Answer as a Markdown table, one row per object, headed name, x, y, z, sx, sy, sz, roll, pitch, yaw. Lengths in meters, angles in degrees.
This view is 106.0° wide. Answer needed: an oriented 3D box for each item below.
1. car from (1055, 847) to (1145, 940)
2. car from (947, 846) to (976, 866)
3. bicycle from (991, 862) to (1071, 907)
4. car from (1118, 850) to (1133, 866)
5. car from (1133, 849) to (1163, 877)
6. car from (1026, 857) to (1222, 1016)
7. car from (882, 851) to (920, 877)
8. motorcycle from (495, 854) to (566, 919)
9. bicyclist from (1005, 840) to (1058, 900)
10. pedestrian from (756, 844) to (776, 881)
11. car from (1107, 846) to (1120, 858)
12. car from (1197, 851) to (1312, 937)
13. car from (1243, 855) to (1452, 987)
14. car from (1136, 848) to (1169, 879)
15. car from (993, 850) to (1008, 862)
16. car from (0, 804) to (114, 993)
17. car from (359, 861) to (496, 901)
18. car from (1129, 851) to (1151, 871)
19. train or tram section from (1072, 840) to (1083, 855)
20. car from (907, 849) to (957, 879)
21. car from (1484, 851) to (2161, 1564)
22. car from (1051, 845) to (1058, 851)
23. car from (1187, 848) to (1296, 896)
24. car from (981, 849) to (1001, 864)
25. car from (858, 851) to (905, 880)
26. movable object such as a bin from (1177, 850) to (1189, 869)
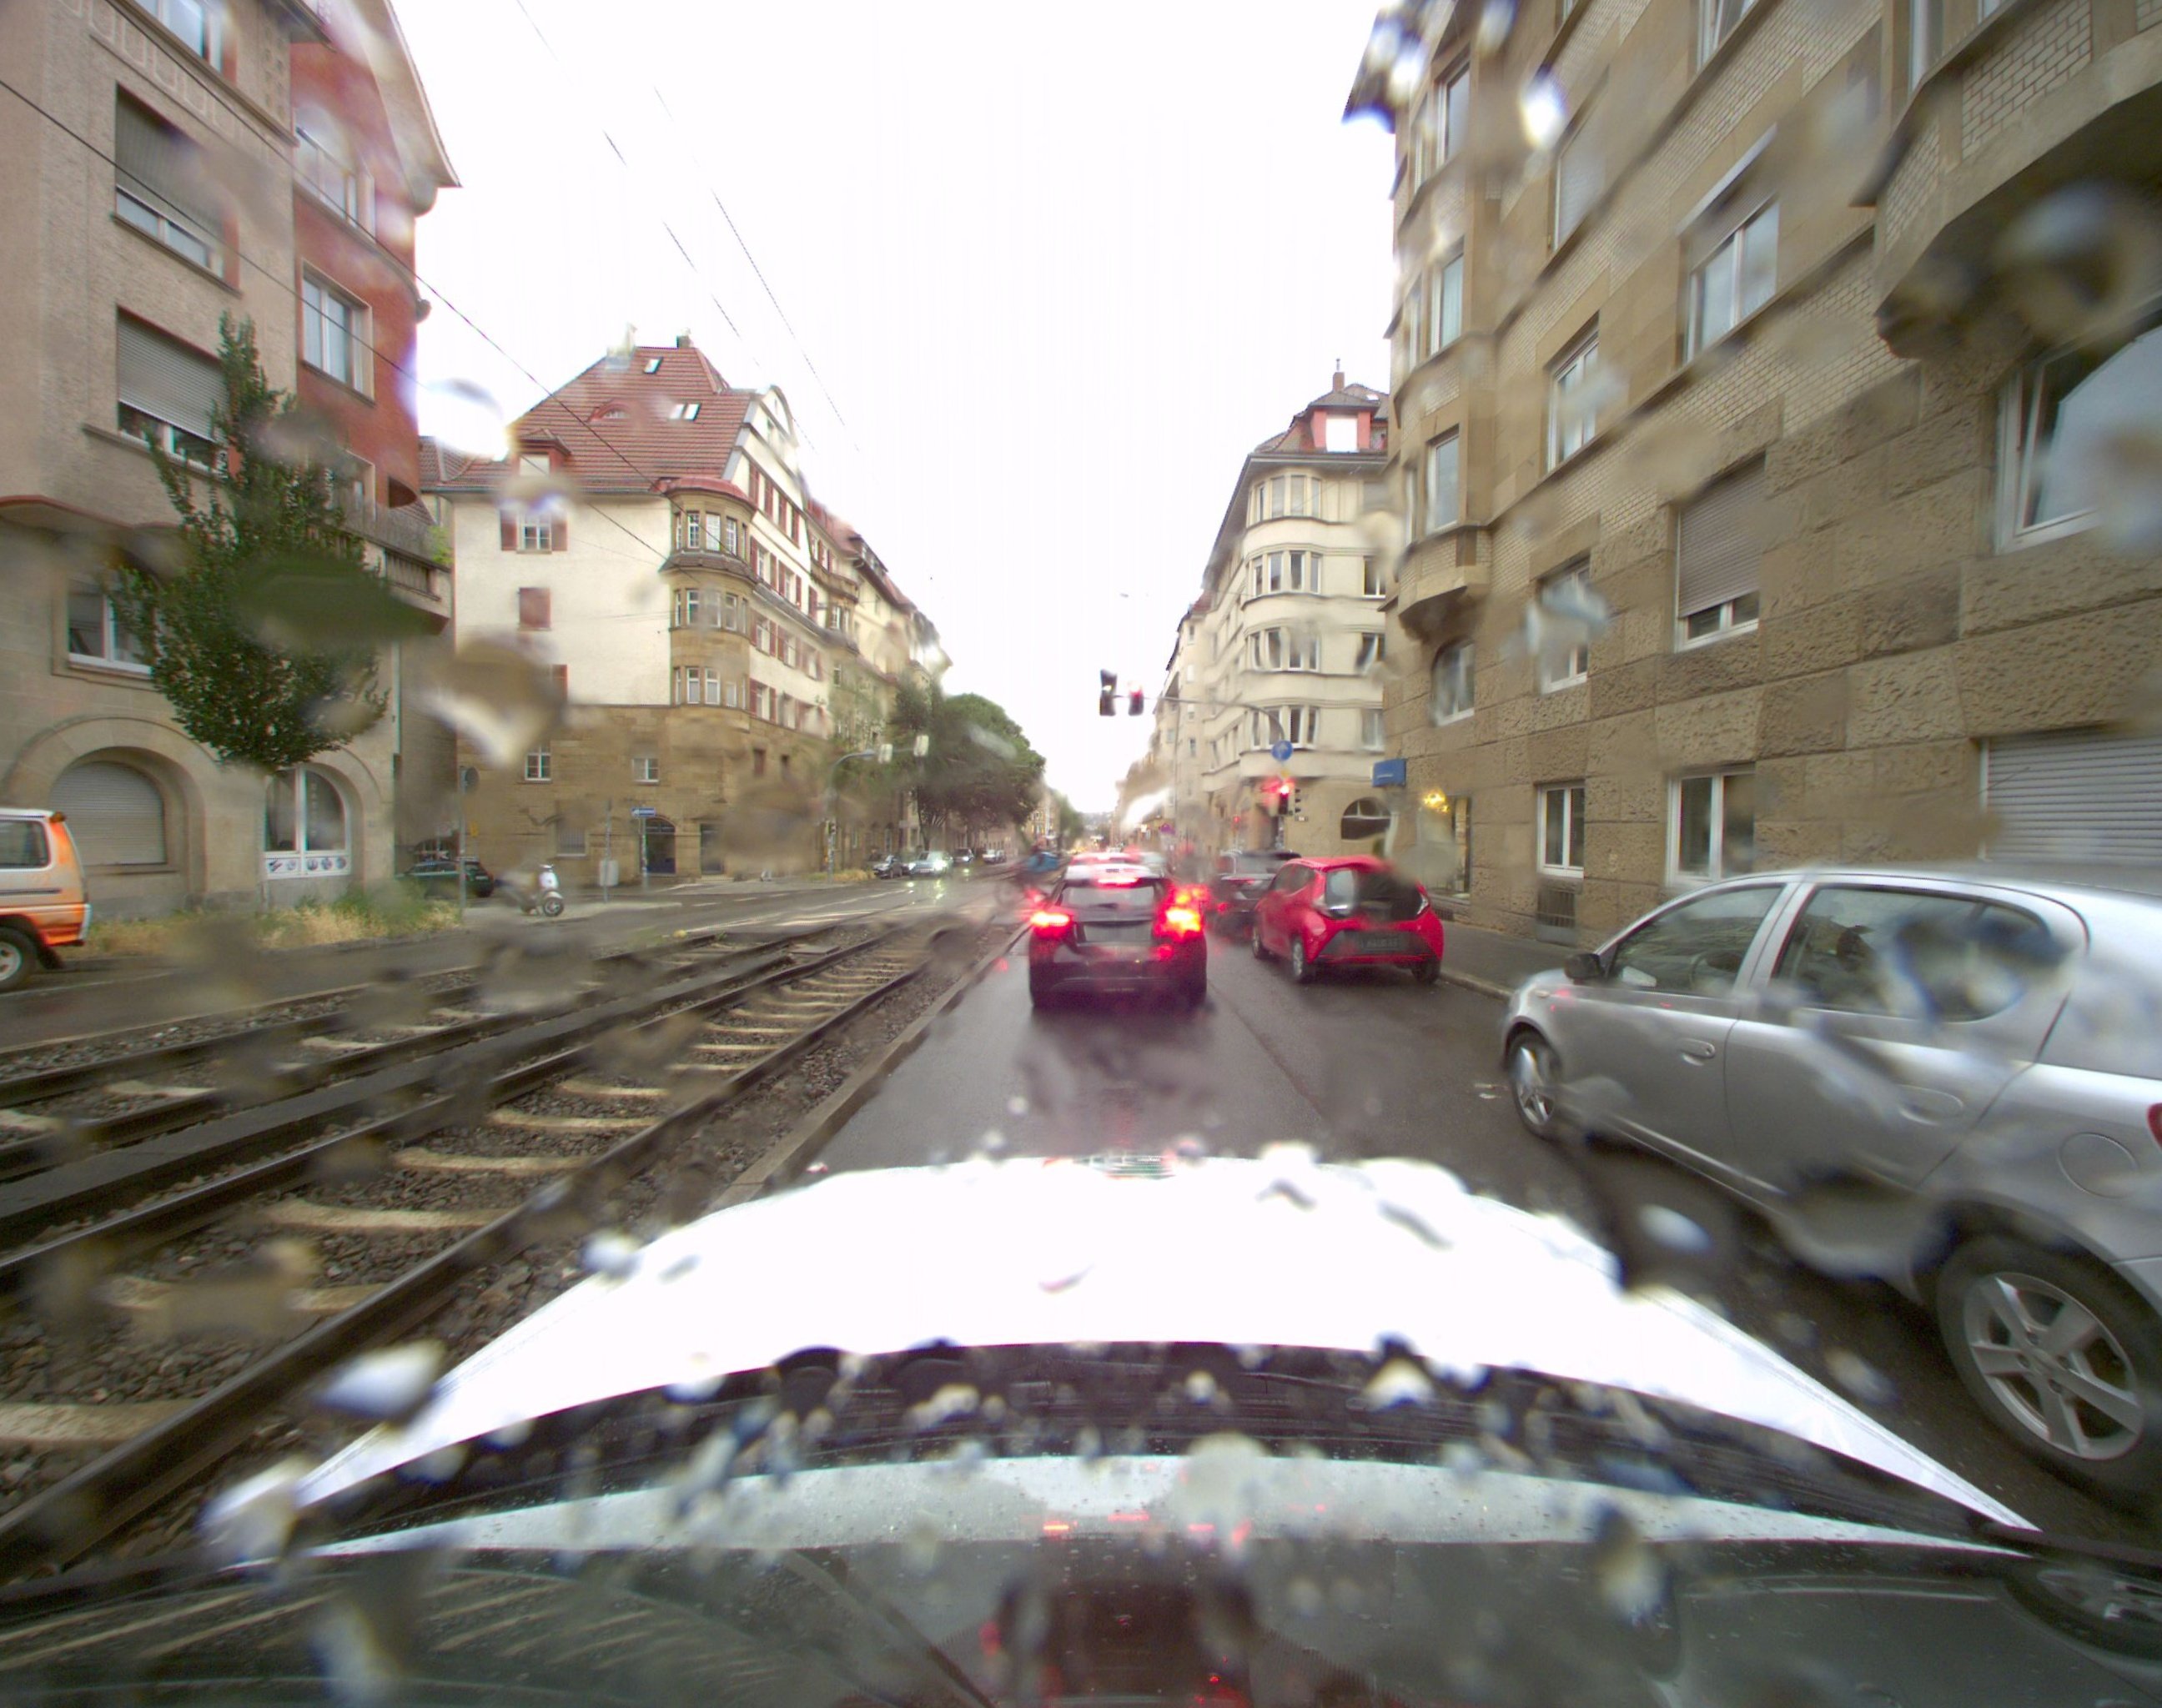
| name | x | y | z | sx | sy | sz | roll | pitch | yaw |
| --- | --- | --- | --- | --- | --- | --- | --- | --- | --- |
| car | 0.390 | 0.697 | 16.036 | 1.559 | 1.609 | 3.815 | 0 | -1 | 2 |
| car | -10.594 | 0.187 | 72.218 | 1.868 | 1.737 | 3.920 | 0 | -1 | 2 |
| bicycle | -1.381 | 0.825 | 22.482 | 2.038 | 1.186 | 0.820 | 0 | -1 | -21 |
| car | 4.028 | 0.384 | 73.750 | 1.289 | 1.442 | 2.930 | 0 | 0 | 2 |
| car | 3.842 | 0.514 | 47.253 | 1.539 | 1.590 | 3.549 | 0 | 0 | 2 |
| car | 0.464 | 0.780 | 9.641 | 1.822 | 1.458 | 4.105 | 0 | 0 | 2 |
| car | -11.286 | 0.624 | 51.230 | 1.713 | 1.611 | 3.914 | 0 | -1 | -3 |
| motorcycle | -12.069 | 0.700 | 17.844 | 1.577 | 1.365 | 0.628 | -1 | -1 | 28 |
| bicyclist | -1.371 | 0.431 | 22.494 | 1.254 | 1.597 | 0.881 | 0 | -1 | -21 |
| pedestrian | -14.401 | 0.408 | 37.249 | 0.628 | 1.672 | 0.704 | 0 | -1 | 6 |
| car | 5.117 | -0.328 | 129.609 | 1.986 | 1.876 | 4.001 | 0 | -1 | 2 |
| car | 3.241 | 0.688 | 15.886 | 1.539 | 1.486 | 3.831 | 0 | 0 | 2 |
| car | 3.274 | 0.735 | 10.642 | 1.637 | 1.448 | 3.298 | 0 | 0 | -1 |
| car | 3.701 | 0.472 | 42.778 | 1.539 | 1.590 | 3.549 | 0 | 0 | 2 |
| car | -9.792 | 0.258 | 99.091 | 1.443 | 1.331 | 3.271 | 0 | -1 | 0 |
| car | -12.125 | 0.461 | 7.288 | 1.725 | 1.975 | 4.341 | 0 | -1 | 0 |
| car | -24.385 | 0.988 | 30.488 | 3.633 | 1.404 | 1.699 | 0 | -1 | -3 |
| car | 4.417 | 0.513 | 61.660 | 1.539 | 1.486 | 3.549 | 0 | 0 | 2 |
| train or tram section | -0.927 | -1.673 | 221.128 | 2.772 | 3.861 | 10.433 | 0 | -1 | 2 |
| car | -8.270 | 0.563 | 45.509 | 1.891 | 1.588 | 3.974 | 0 | -1 | 2 |
| car | 3.143 | 0.744 | 3.177 | 1.608 | 1.467 | 3.314 | -2 | 0 | 3 |
| car | -5.187 | -1.187 | 160.335 | 1.372 | 1.249 | 3.297 | 0 | -1 | 0 |
| car | 5.589 | 0.603 | 28.363 | 3.648 | 1.636 | 1.555 | 0 | 0 | 13 |
| car | -9.863 | 0.274 | 89.675 | 1.583 | 1.581 | 3.920 | 0 | -1 | 2 |
| car | -11.255 | 0.620 | 46.195 | 1.747 | 1.552 | 4.033 | 0 | -1 | -2 |
| movable object such as a bin | 7.475 | 0.410 | 59.633 | 0.873 | 1.389 | 0.984 | 0 | -1 | 5 |
